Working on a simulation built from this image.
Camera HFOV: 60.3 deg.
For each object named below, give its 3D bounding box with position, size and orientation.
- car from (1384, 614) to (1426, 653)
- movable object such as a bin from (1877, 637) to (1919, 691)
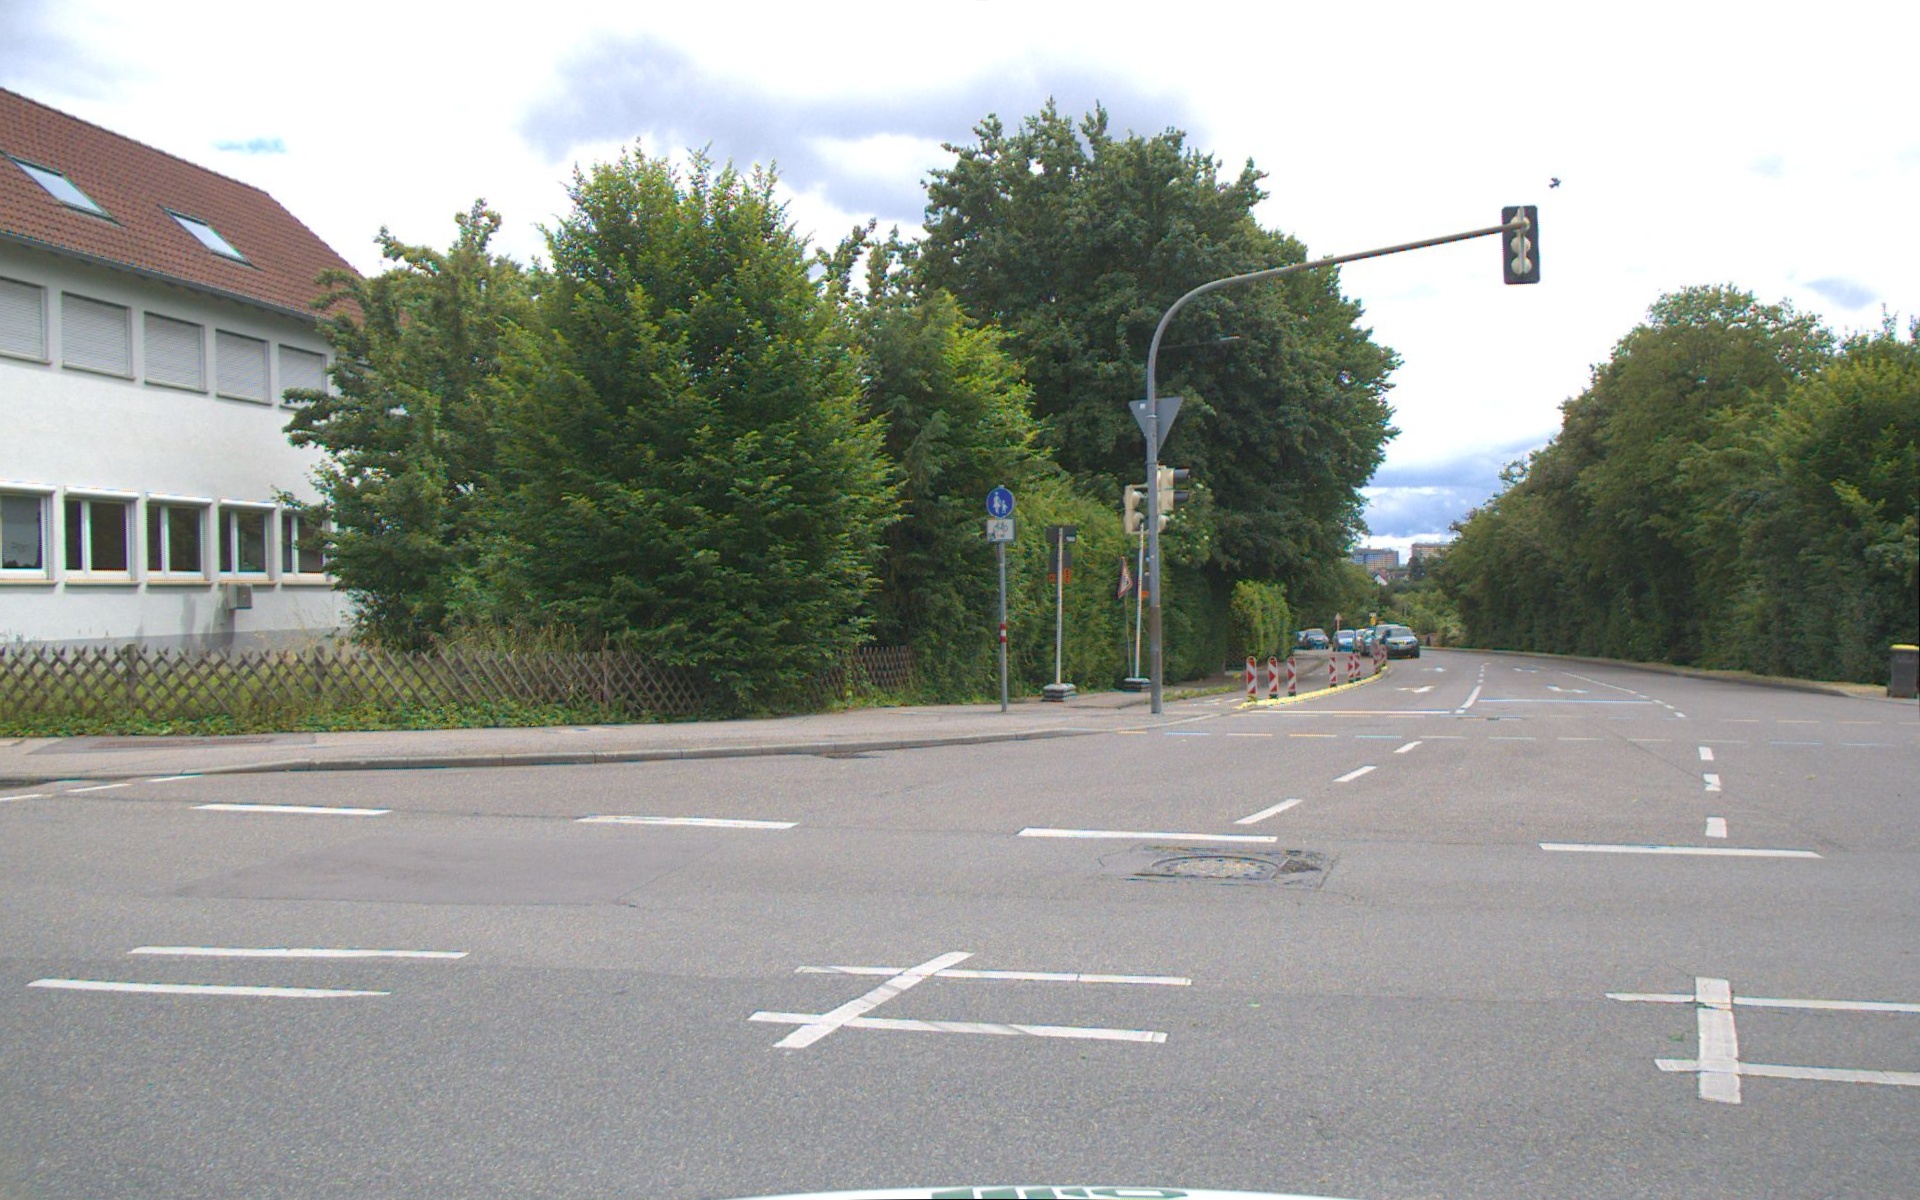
[{"bbox_3d":[22.322,1.666,83.055,1.951,1.780,4.003,-1,0,15],"label":"car"},{"bbox_3d":[16.832,1.139,29.570,0.597,0.922,0.584,-2,1,-40],"label":"movable object such as a bin"}]
